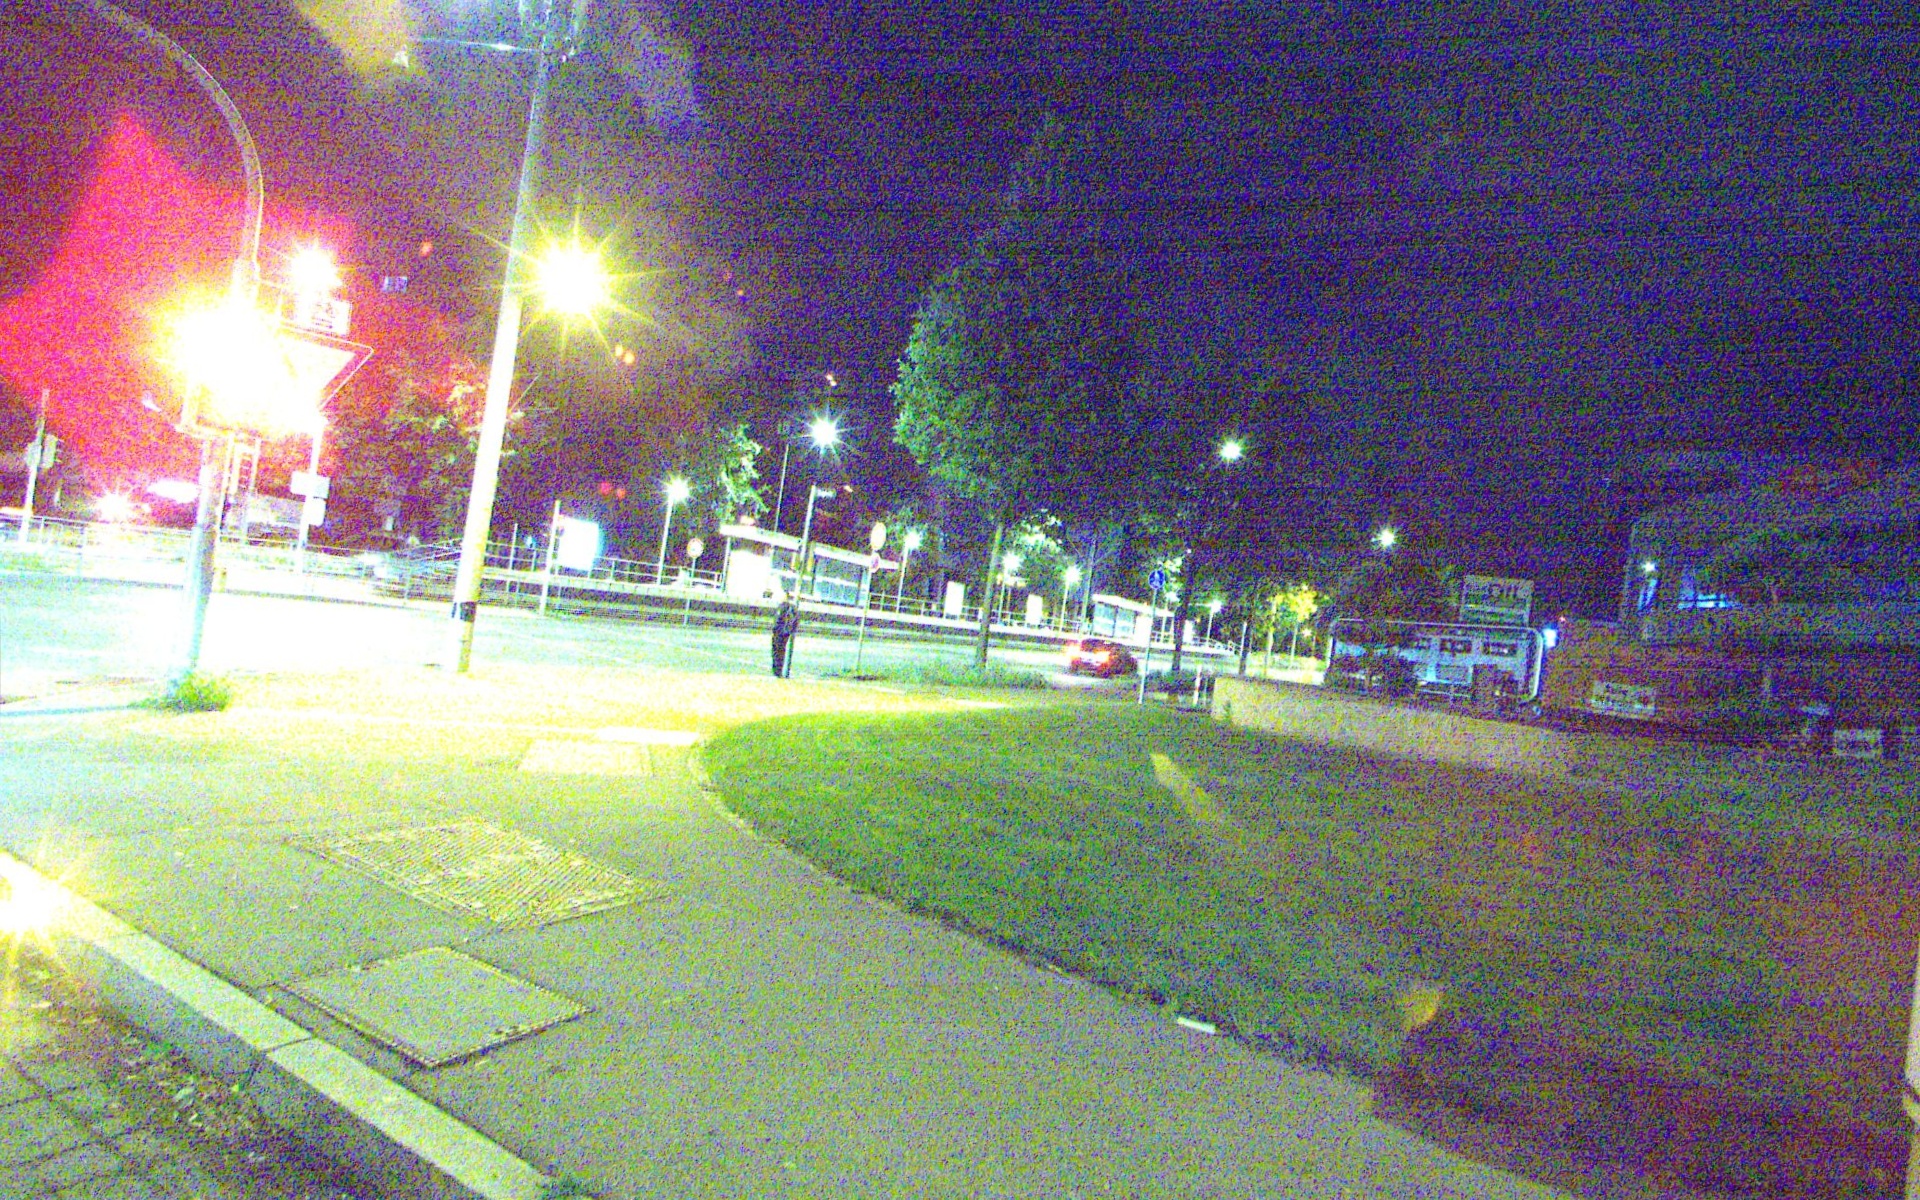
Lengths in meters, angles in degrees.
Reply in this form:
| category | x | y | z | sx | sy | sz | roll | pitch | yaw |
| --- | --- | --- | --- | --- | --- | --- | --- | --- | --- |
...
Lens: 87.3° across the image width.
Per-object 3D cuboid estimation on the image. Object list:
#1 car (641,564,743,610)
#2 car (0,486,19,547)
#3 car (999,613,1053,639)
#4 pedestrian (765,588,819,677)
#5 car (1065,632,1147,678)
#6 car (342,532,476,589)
| category | x | y | z | sx | sy | sz | roll | pitch | yaw |
| --- | --- | --- | --- | --- | --- | --- | --- | --- | --- |
| car | -12.842 | -0.611 | 48.533 | 1.816 | 1.604 | 4.575 | 8 | 0 | 33 |
| car | -27.753 | -2.509 | 26.512 | 1.776 | 1.604 | 3.987 | 7 | -1 | 37 |
| car | 4.818 | 1.901 | 73.029 | 1.822 | 1.437 | 4.429 | 6 | -1 | 35 |
| pedestrian | -3.287 | 0.626 | 19.603 | 0.867 | 1.677 | 0.835 | 2 | 1 | -18 |
| car | 5.889 | 2.232 | 40.181 | 1.631 | 1.492 | 3.880 | 10 | 1 | 32 |
| car | -21.933 | -1.530 | 40.194 | 1.776 | 1.603 | 4.237 | 5 | -3 | 36 |
